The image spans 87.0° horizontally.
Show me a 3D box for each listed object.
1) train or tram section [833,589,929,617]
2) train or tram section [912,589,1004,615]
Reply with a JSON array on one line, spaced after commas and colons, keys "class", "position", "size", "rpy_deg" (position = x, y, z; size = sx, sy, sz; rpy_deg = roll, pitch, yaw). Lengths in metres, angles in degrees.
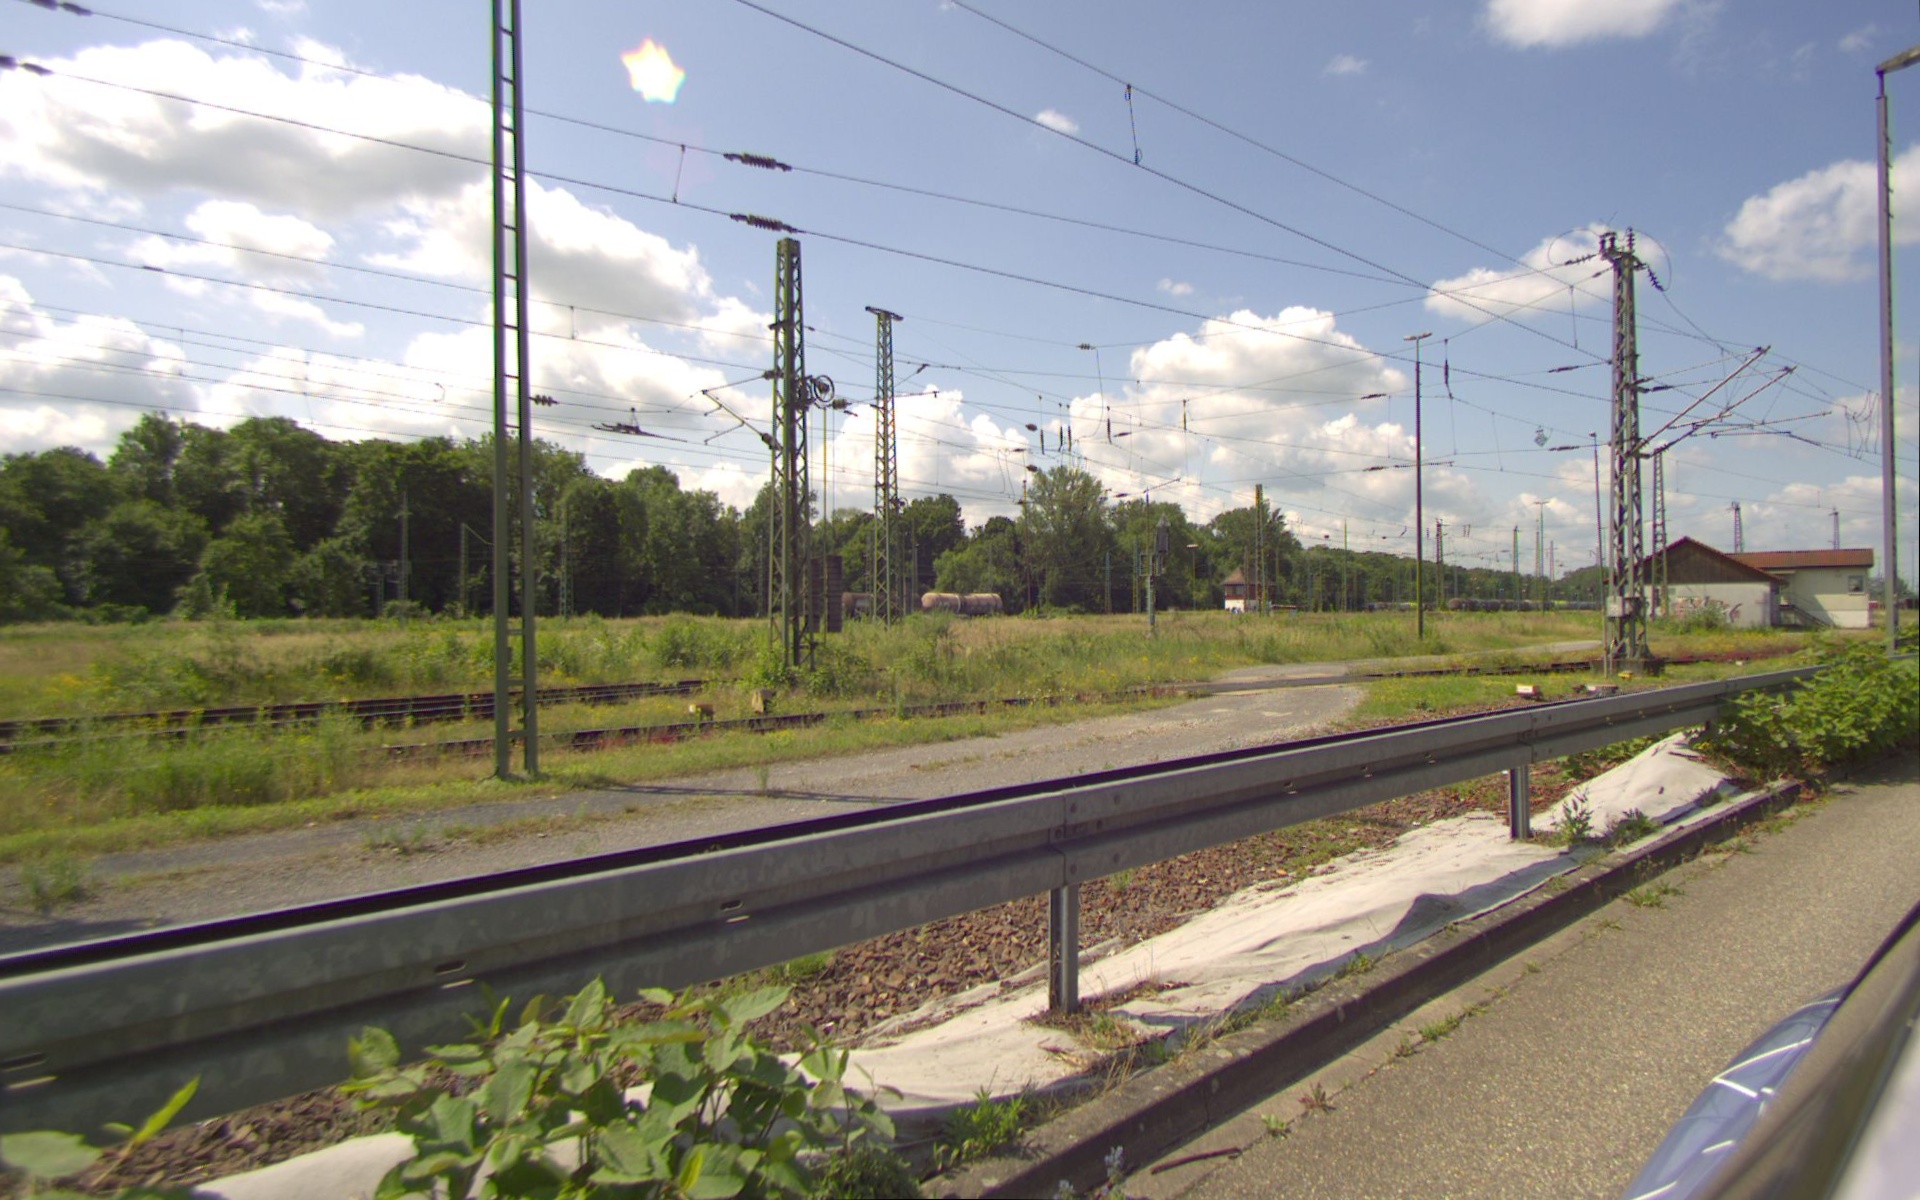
[{"class": "train or tram section", "position": [-9.670, 0.282, 125.757], "size": [3.021, 3.347, 13.732], "rpy_deg": [-1, 0, 41]}, {"class": "train or tram section", "position": [-0.038, 0.158, 136.890], "size": [3.021, 3.347, 15.525], "rpy_deg": [-1, 0, 41]}]
